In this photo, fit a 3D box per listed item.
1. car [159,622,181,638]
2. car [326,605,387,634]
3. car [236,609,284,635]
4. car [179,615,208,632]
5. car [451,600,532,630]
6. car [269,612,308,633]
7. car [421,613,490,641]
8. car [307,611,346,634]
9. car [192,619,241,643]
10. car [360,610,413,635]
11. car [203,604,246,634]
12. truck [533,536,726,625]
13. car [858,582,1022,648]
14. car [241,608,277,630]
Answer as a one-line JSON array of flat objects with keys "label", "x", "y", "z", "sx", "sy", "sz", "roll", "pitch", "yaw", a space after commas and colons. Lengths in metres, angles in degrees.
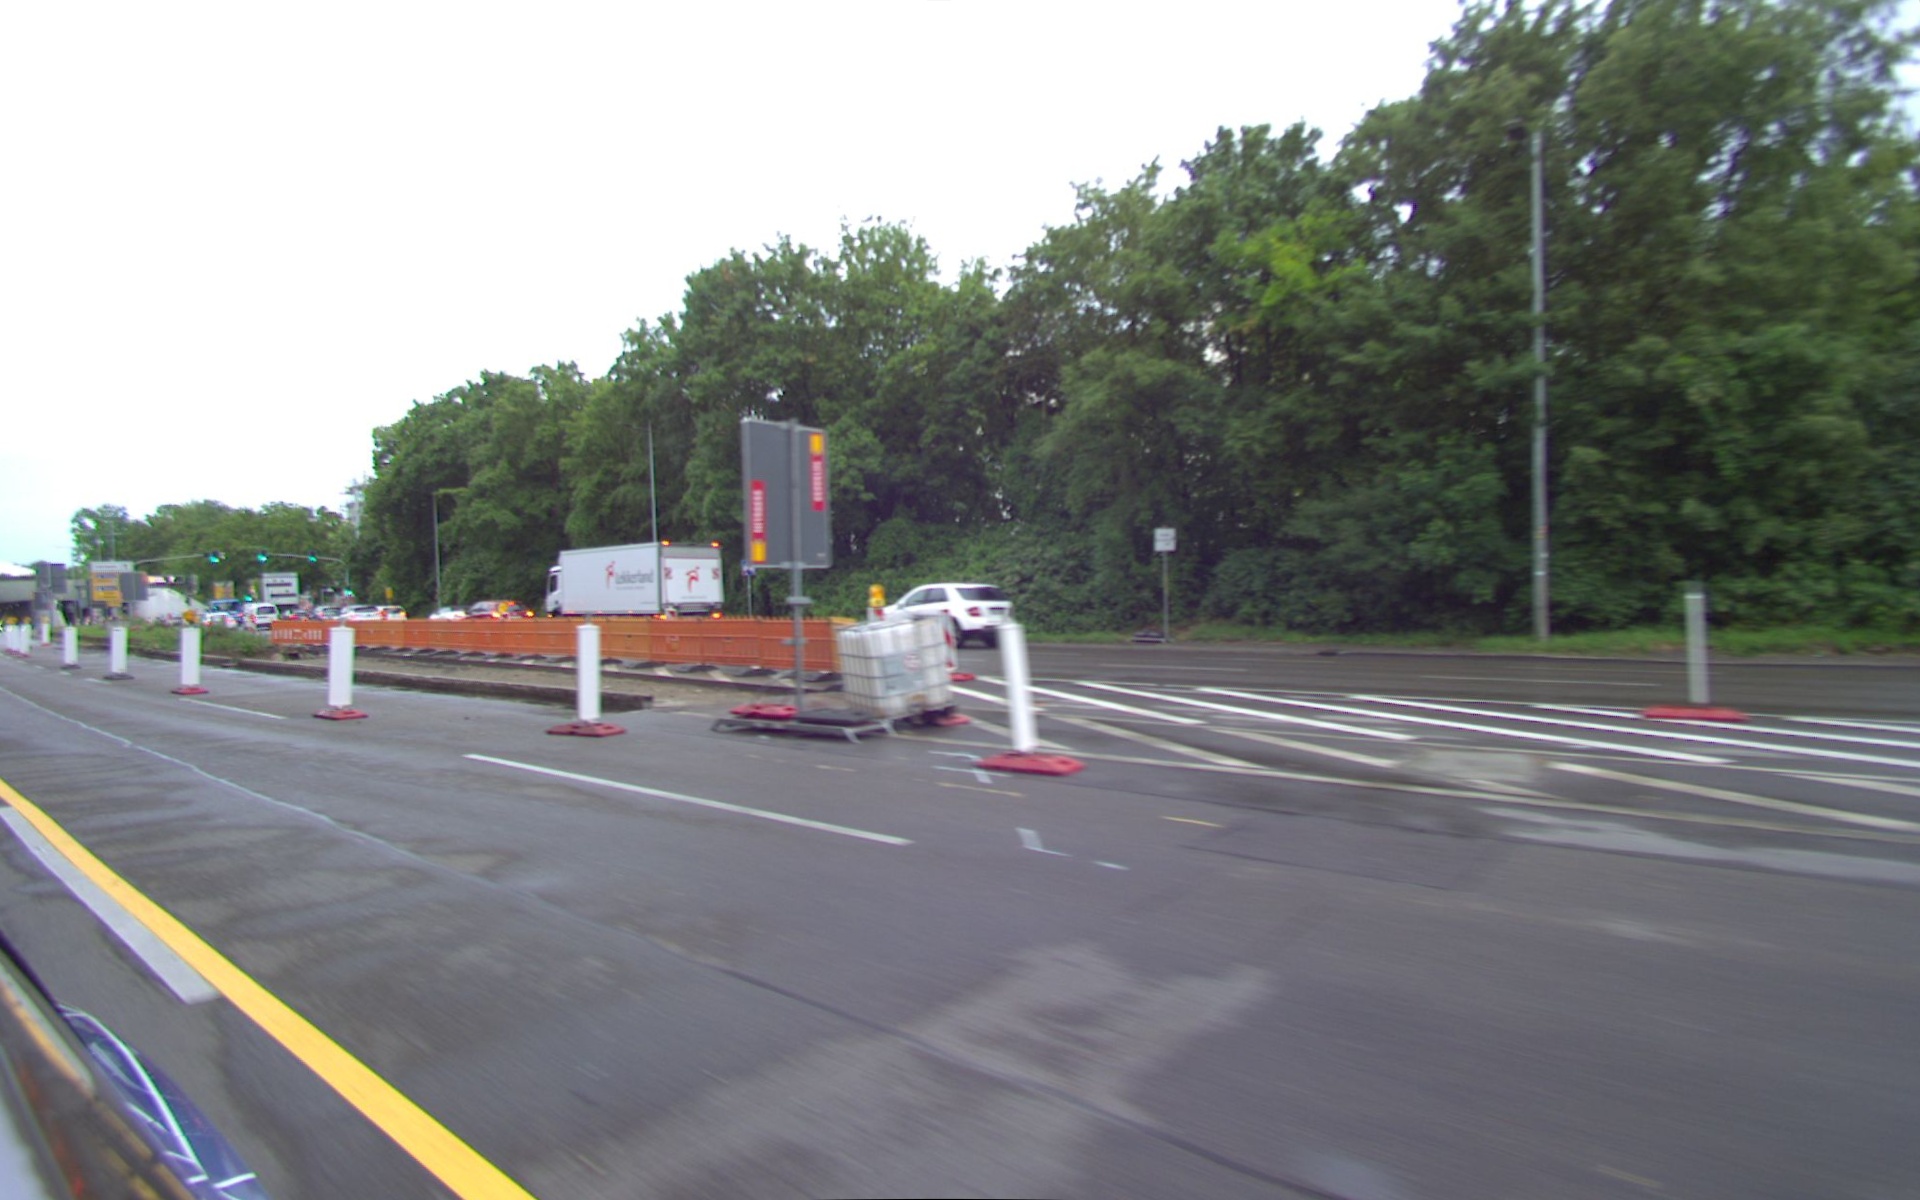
[{"label": "car", "x": -71.413, "y": 2.698, "z": 91.461, "sx": 1.529, "sy": 1.209, "sz": 4.655, "roll": -3, "pitch": 1, "yaw": -38}, {"label": "car", "x": -33.704, "y": 1.094, "z": 56.489, "sx": 4.040, "sy": 1.562, "sz": 1.815, "roll": -2, "pitch": 0, "yaw": 43}, {"label": "car", "x": -51.823, "y": 1.647, "z": 74.877, "sx": 4.833, "sy": 1.794, "sz": 1.893, "roll": -2, "pitch": 0, "yaw": 43}, {"label": "car", "x": -59.249, "y": 1.818, "z": 78.167, "sx": 1.413, "sy": 1.209, "sz": 3.303, "roll": -3, "pitch": 1, "yaw": -43}, {"label": "car", "x": -19.779, "y": 0.641, "z": 42.616, "sx": 4.283, "sy": 1.161, "sz": 1.588, "roll": -1, "pitch": 0, "yaw": 43}, {"label": "car", "x": -53.091, "y": 1.768, "z": 79.981, "sx": 1.772, "sy": 1.535, "sz": 4.639, "roll": -3, "pitch": 1, "yaw": -43}, {"label": "car", "x": -26.644, "y": 1.417, "z": 53.377, "sx": 4.368, "sy": 1.389, "sz": 1.790, "roll": -1, "pitch": 0, "yaw": 43}, {"label": "car", "x": -45.273, "y": 1.582, "z": 72.298, "sx": 1.652, "sy": 1.535, "sz": 3.793, "roll": -3, "pitch": 1, "yaw": -43}, {"label": "car", "x": -50.157, "y": 2.082, "z": 68.272, "sx": 4.679, "sy": 1.497, "sz": 1.835, "roll": -2, "pitch": 0, "yaw": 43}, {"label": "car", "x": -35.661, "y": 1.406, "z": 62.942, "sx": 3.896, "sy": 1.436, "sz": 1.771, "roll": -2, "pitch": 0, "yaw": 43}, {"label": "car", "x": -64.448, "y": 1.692, "z": 88.617, "sx": 2.170, "sy": 2.408, "sz": 6.249, "roll": -3, "pitch": 0, "yaw": -44}, {"label": "truck", "x": -13.484, "y": -0.654, "z": 40.568, "sx": 10.148, "sy": 3.172, "sz": 2.765, "roll": -1, "pitch": 0, "yaw": 43}, {"label": "car", "x": -0.641, "y": 0.471, "z": 28.785, "sx": 4.719, "sy": 1.736, "sz": 1.824, "roll": -2, "pitch": -3, "yaw": 43}, {"label": "car", "x": -67.926, "y": 1.855, "z": 98.057, "sx": 2.011, "sy": 1.989, "sz": 4.994, "roll": -3, "pitch": 0, "yaw": -44}]
